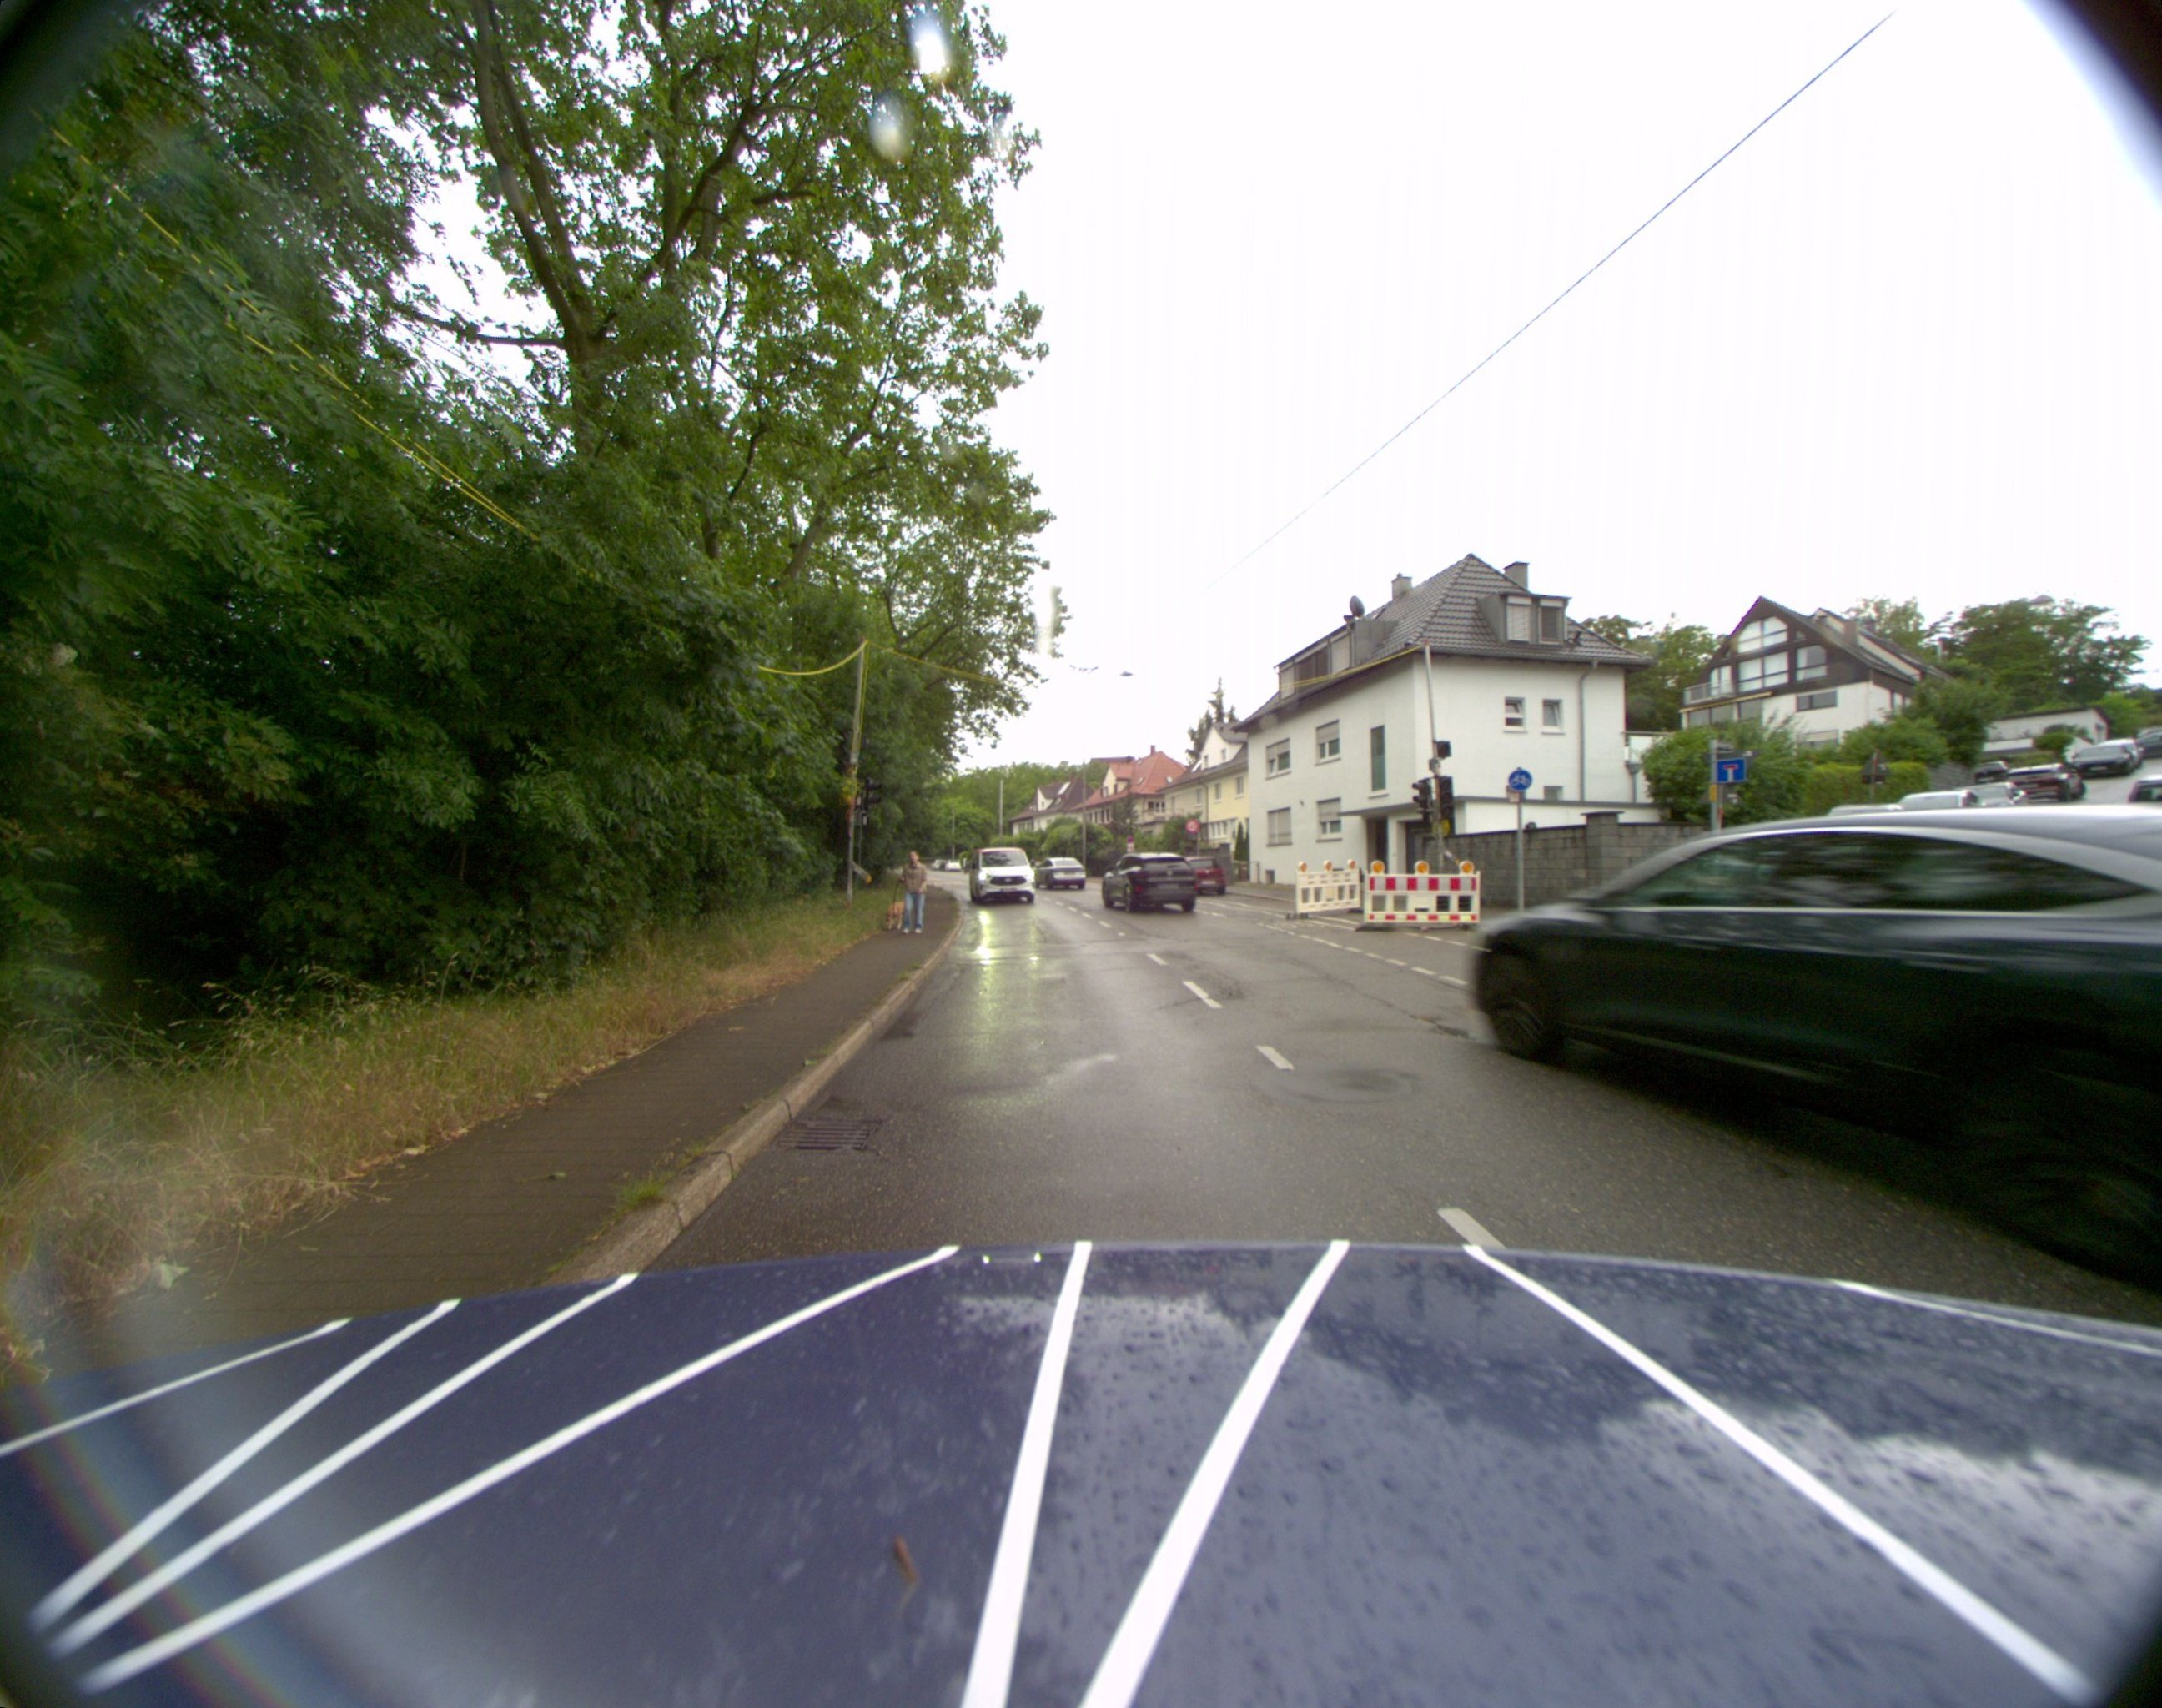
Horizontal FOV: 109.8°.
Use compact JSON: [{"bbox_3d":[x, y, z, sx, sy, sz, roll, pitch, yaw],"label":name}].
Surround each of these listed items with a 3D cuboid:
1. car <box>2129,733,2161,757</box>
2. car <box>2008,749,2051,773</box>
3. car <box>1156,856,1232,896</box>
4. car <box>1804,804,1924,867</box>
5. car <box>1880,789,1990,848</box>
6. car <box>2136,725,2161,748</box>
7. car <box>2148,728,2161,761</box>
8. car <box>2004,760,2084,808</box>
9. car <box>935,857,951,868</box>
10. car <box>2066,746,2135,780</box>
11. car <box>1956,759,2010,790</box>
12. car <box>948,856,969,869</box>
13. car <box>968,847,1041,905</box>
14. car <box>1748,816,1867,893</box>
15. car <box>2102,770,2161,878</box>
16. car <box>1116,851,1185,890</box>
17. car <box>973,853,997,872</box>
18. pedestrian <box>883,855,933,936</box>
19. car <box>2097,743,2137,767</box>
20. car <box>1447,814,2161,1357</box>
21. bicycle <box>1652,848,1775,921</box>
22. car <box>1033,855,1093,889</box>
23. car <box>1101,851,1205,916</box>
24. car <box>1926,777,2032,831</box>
[{"bbox_3d":[68.322,-6.914,47.691,1.286,1.310,2.945,-3,1,-36],"label":"car"},{"bbox_3d":[57.236,-5.617,45.858,3.656,1.205,1.577,-7,3,-38],"label":"car"},{"bbox_3d":[4.378,0.825,29.899,1.787,1.423,3.844,-2,0,-10],"label":"car"},{"bbox_3d":[22.459,-0.548,21.752,3.910,1.380,1.719,-7,3,-34],"label":"car"},{"bbox_3d":[27.265,-1.141,24.225,3.951,1.462,1.755,-7,3,-33],"label":"car"},{"bbox_3d":[81.116,-8.840,55.952,1.754,1.508,3.961,-3,1,-35],"label":"car"},{"bbox_3d":[72.462,-7.423,48.975,2.003,2.000,3.993,-2,-4,-32],"label":"car"},{"bbox_3d":[40.715,-2.968,32.105,4.004,1.617,1.638,-8,4,-32],"label":"car"},{"bbox_3d":[-18.745,1.143,103.006,1.691,1.419,3.770,-2,0,-17],"label":"car"},{"bbox_3d":[54.812,-4.860,40.834,4.034,1.511,1.786,-2,0,-31],"label":"car"},{"bbox_3d":[52.864,-4.629,44.510,4.020,1.545,1.812,-3,1,-37],"label":"car"},{"bbox_3d":[-15.238,1.082,94.170,2.071,1.477,4.556,-2,0,-16],"label":"car"},{"bbox_3d":[-2.944,0.740,28.076,2.104,1.908,5.085,-2,0,-12],"label":"car"},{"bbox_3d":[17.771,-0.039,18.530,4.126,1.455,1.849,-7,4,-43],"label":"car"},{"bbox_3d":[23.878,-0.742,16.254,4.497,2.003,1.996,-7,3,-31],"label":"car"},{"bbox_3d":[3.125,0.739,35.027,1.798,1.630,4.150,-1,0,-15],"label":"car"},{"bbox_3d":[-9.612,0.852,75.949,1.882,1.814,4.121,-2,0,-14],"label":"car"},{"bbox_3d":[-3.297,0.780,14.535,0.735,1.490,0.785,-1,1,-1],"label":"pedestrian"},{"bbox_3d":[59.834,-5.721,43.891,2.988,1.191,1.305,-6,3,-35],"label":"car"},{"bbox_3d":[4.169,0.679,3.869,1.999,1.664,4.685,-2,0,-5],"label":"car"},{"bbox_3d":[11.582,0.544,13.929,2.006,1.232,0.510,-2,3,-8],"label":"bicycle"},{"bbox_3d":[-0.969,0.837,37.714,1.860,1.518,4.813,-2,1,-15],"label":"car"},{"bbox_3d":[1.911,0.780,21.584,1.873,1.612,4.161,-1,-1,-10],"label":"car"},{"bbox_3d":[32.323,-1.819,27.327,4.111,1.430,1.921,-9,4,-33],"label":"car"}]
